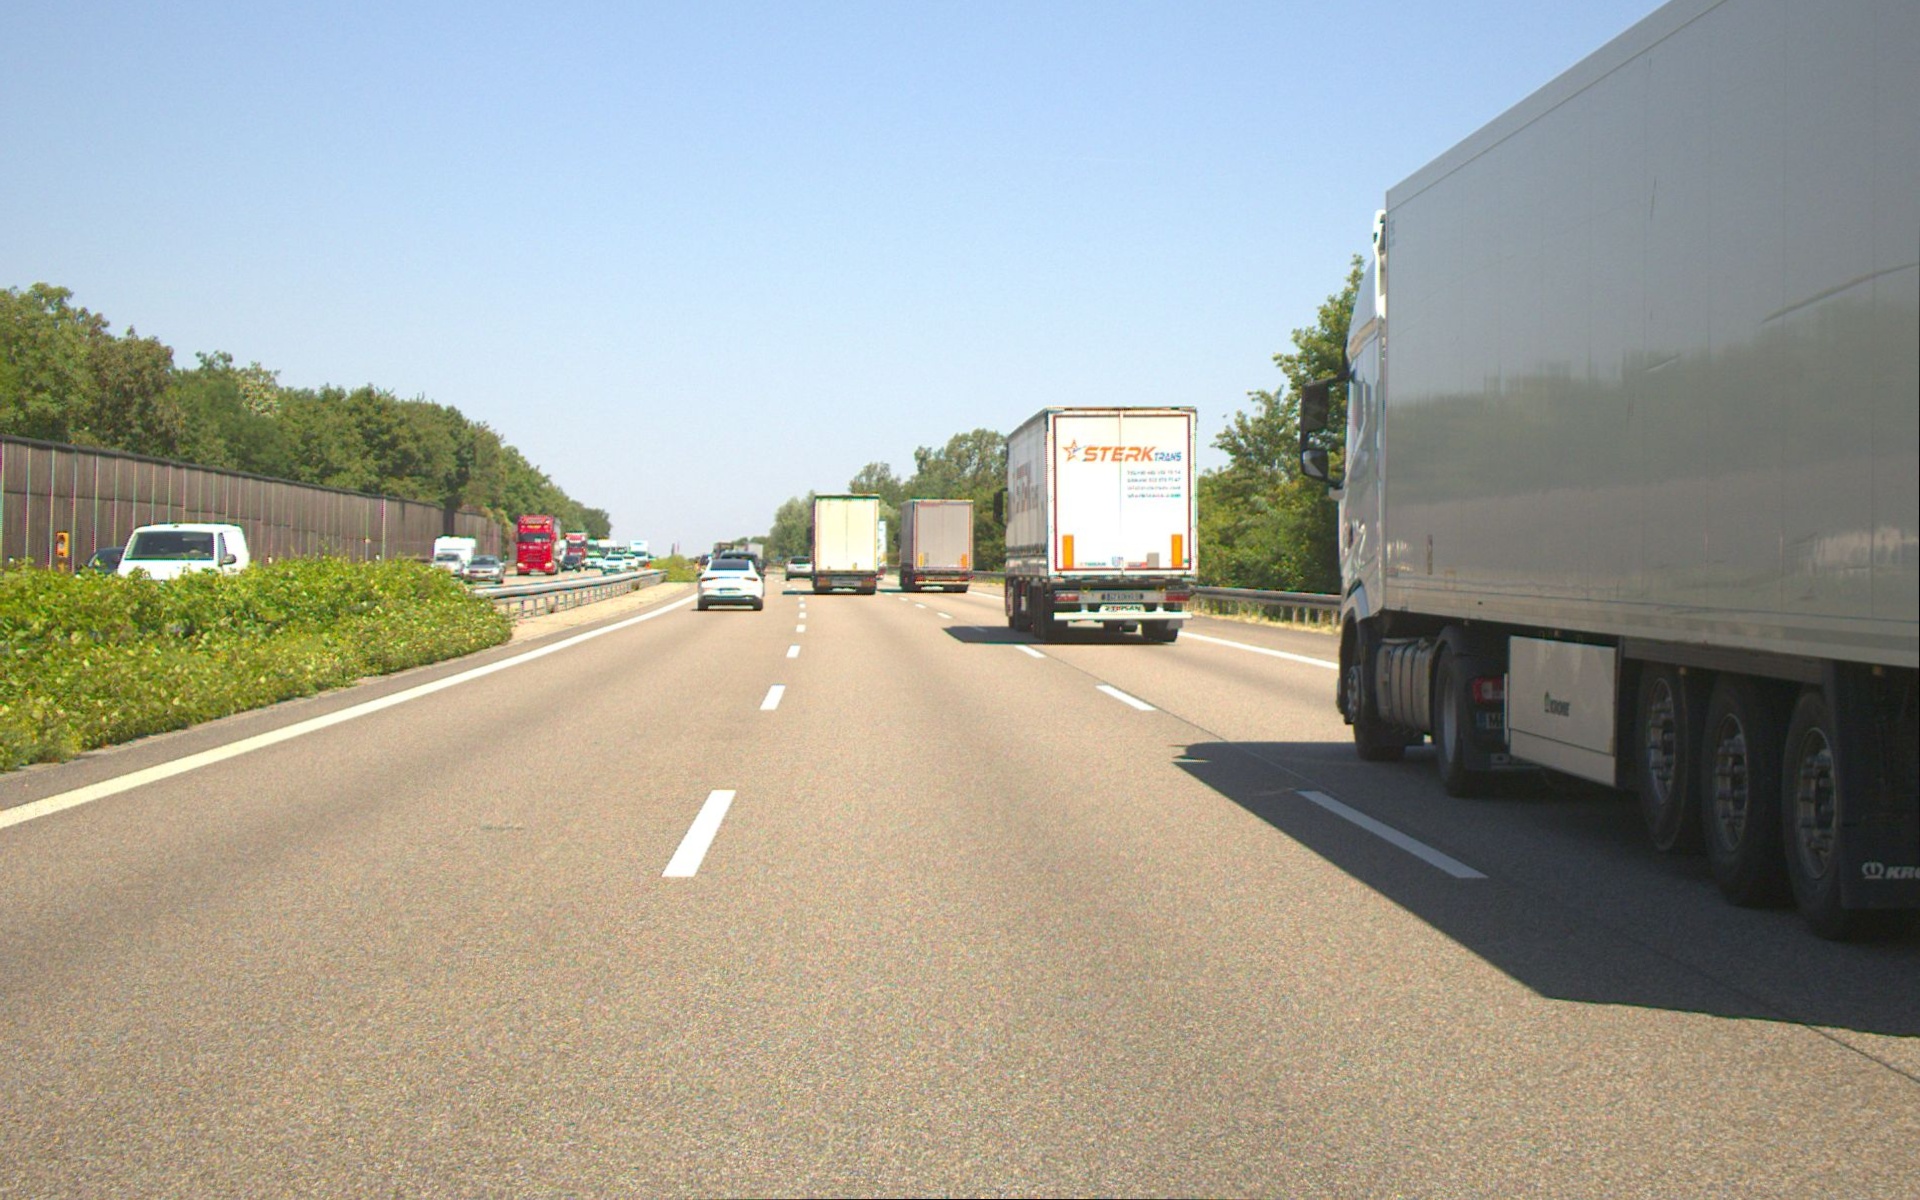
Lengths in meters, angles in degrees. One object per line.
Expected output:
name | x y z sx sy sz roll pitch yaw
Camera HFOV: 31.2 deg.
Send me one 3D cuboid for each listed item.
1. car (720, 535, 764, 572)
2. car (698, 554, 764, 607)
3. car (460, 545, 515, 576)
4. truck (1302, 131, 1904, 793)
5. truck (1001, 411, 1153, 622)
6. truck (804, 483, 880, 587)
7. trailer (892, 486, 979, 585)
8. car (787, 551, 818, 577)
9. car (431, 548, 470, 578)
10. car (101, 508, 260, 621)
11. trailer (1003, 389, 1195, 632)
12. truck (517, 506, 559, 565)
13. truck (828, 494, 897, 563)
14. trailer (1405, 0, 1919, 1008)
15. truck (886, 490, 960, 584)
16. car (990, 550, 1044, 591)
car | -9.608 -2.044 151.692 1.855 1.611 4.001 0 1 -3
car | -6.547 -0.571 98.363 1.855 1.481 4.001 0 1 -4
car | -24.042 -2.010 175.087 2.124 1.517 5.983 0 1 -2
truck | 4.311 -0.896 24.486 2.959 4.092 6.207 0 1 -1
truck | 2.326 -1.672 70.505 2.707 4.074 6.965 1 1 -1
truck | -5.014 -2.639 143.721 2.706 4.072 13.475 1 0 -4
trailer | -1.184 -2.833 154.018 2.703 4.201 13.214 1 0 -5
car | -9.882 -2.249 216.078 1.855 1.611 4.000 0 1 -1
car | -29.889 -2.165 201.798 1.899 1.705 4.907 0 1 -4
car | -14.559 -0.676 64.505 1.993 2.007 5.347 1 1 -3
trailer | 2.439 -1.592 65.088 2.707 4.074 14.152 1 1 -1
truck | -29.553 -4.512 240.908 2.358 4.062 7.154 0 1 -3
truck | -6.601 -4.795 230.894 3.373 4.289 11.452 4 0 -7
trailer | 4.523 -0.772 16.061 2.959 4.092 12.533 0 1 -1
truck | -1.762 -2.894 160.217 2.691 4.201 7.839 1 0 -5
car | 2.253 -1.179 136.946 1.855 1.611 4.001 0 1 -3
